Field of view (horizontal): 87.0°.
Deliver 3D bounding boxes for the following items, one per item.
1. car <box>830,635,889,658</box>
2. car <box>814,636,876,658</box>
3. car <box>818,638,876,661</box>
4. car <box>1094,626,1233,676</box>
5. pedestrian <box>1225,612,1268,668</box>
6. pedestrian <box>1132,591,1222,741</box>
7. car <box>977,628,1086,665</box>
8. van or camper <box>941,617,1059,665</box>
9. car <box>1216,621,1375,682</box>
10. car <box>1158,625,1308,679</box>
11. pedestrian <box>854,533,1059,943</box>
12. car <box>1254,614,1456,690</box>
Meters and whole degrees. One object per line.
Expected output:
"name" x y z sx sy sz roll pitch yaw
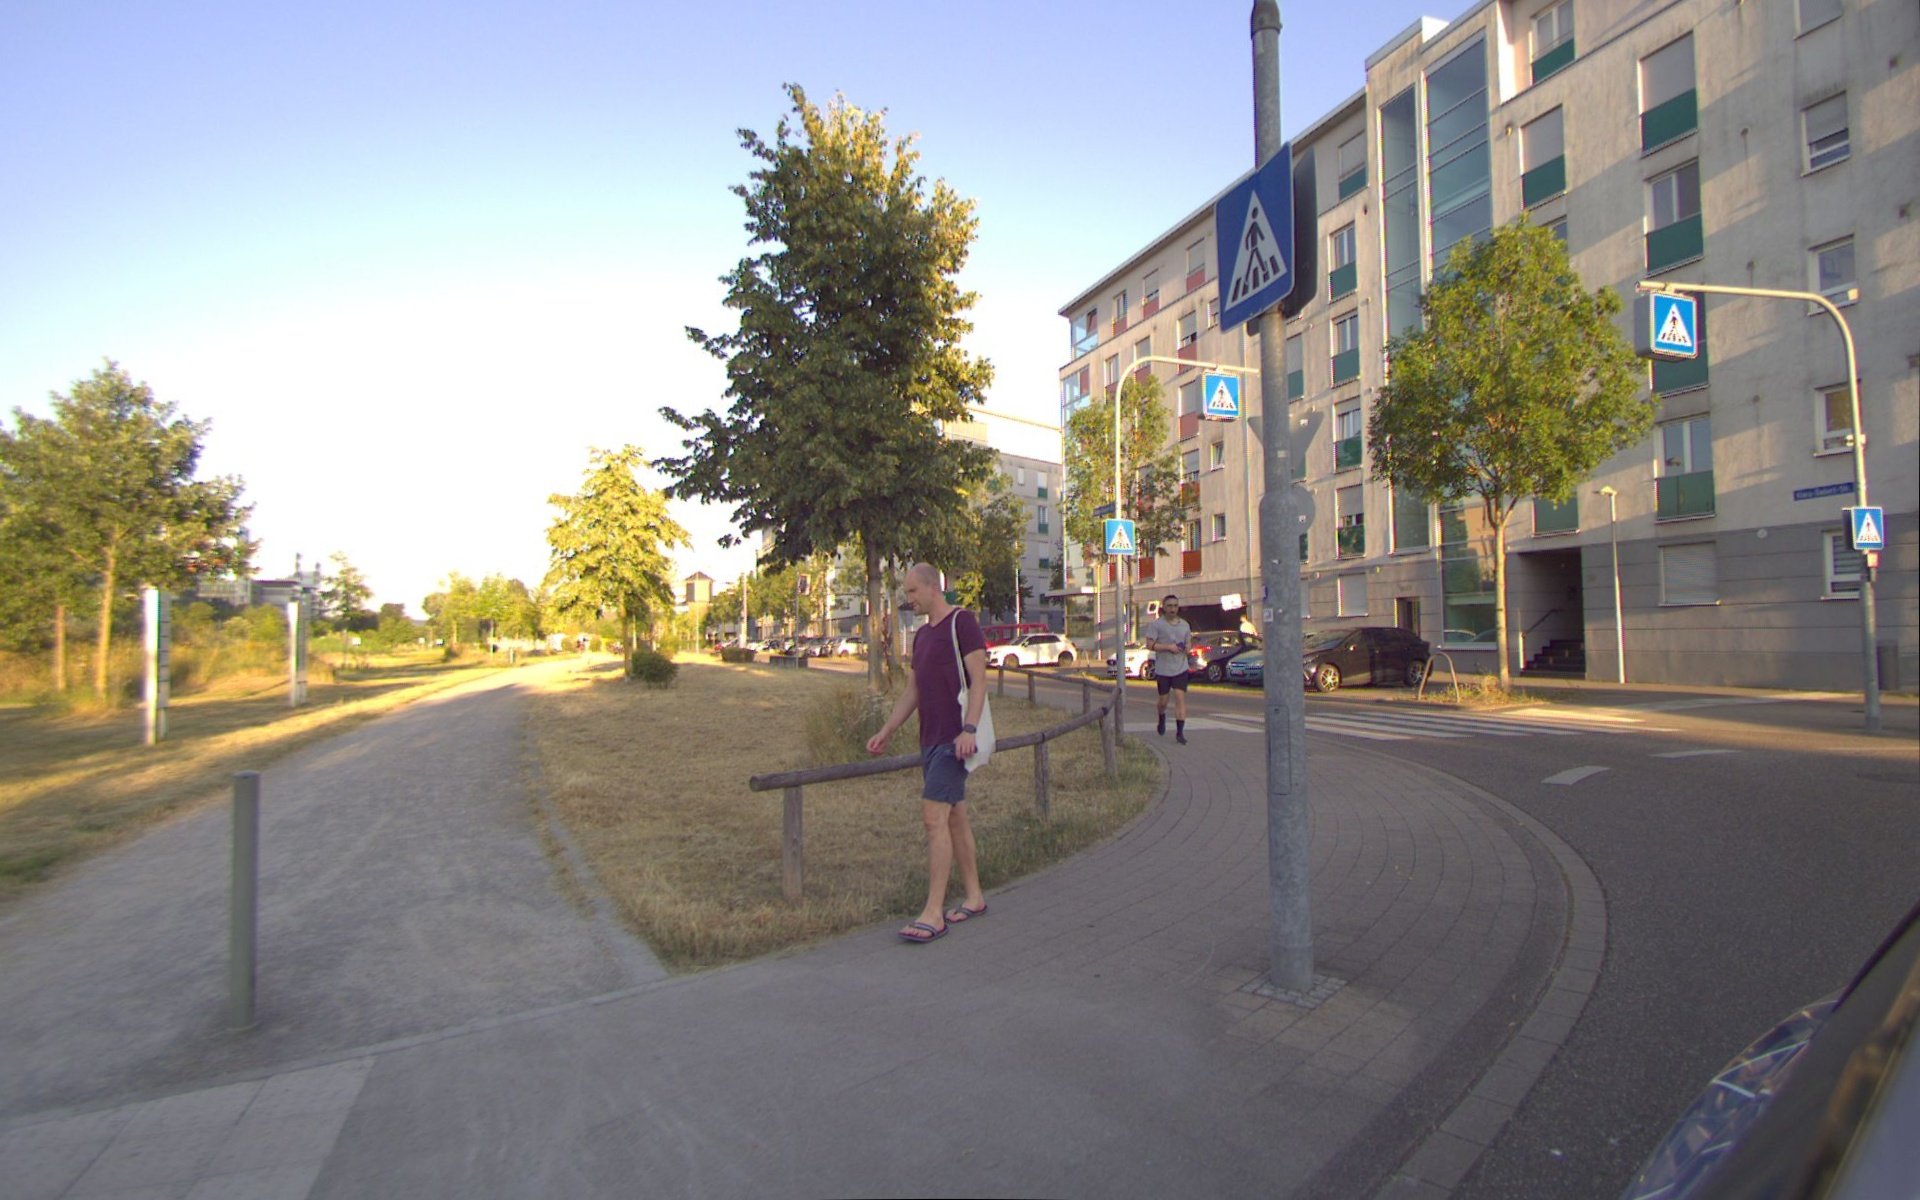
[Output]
"car" -7.202 3.360 72.651 3.873 1.613 1.781 1 -3 -23
"car" -8.808 3.567 77.493 4.320 1.613 1.954 1 -3 -23
"car" -8.357 3.655 74.786 3.873 1.613 1.781 1 -3 -23
"car" 6.408 1.584 31.913 3.971 1.499 1.704 1 -3 -21
"pedestrian" 9.912 1.390 35.070 0.959 1.919 1.051 1 -3 -20
"pedestrian" 2.626 0.788 12.321 0.751 1.752 0.803 0 -3 -15
"car" 3.078 1.973 43.483 4.373 1.541 1.704 1 -3 -21
"van or camper" 1.828 1.865 46.253 5.024 2.087 1.880 1 -3 -22
"car" 9.074 1.364 27.367 3.923 1.391 1.562 -2 -2 -21
"car" 7.989 1.496 29.600 3.971 1.499 1.704 1 -3 -21
"pedestrian" -0.042 0.623 4.972 0.785 1.808 0.735 1 -3 -22
"car" 9.535 1.224 24.443 4.388 1.506 1.836 -2 -2 -21
